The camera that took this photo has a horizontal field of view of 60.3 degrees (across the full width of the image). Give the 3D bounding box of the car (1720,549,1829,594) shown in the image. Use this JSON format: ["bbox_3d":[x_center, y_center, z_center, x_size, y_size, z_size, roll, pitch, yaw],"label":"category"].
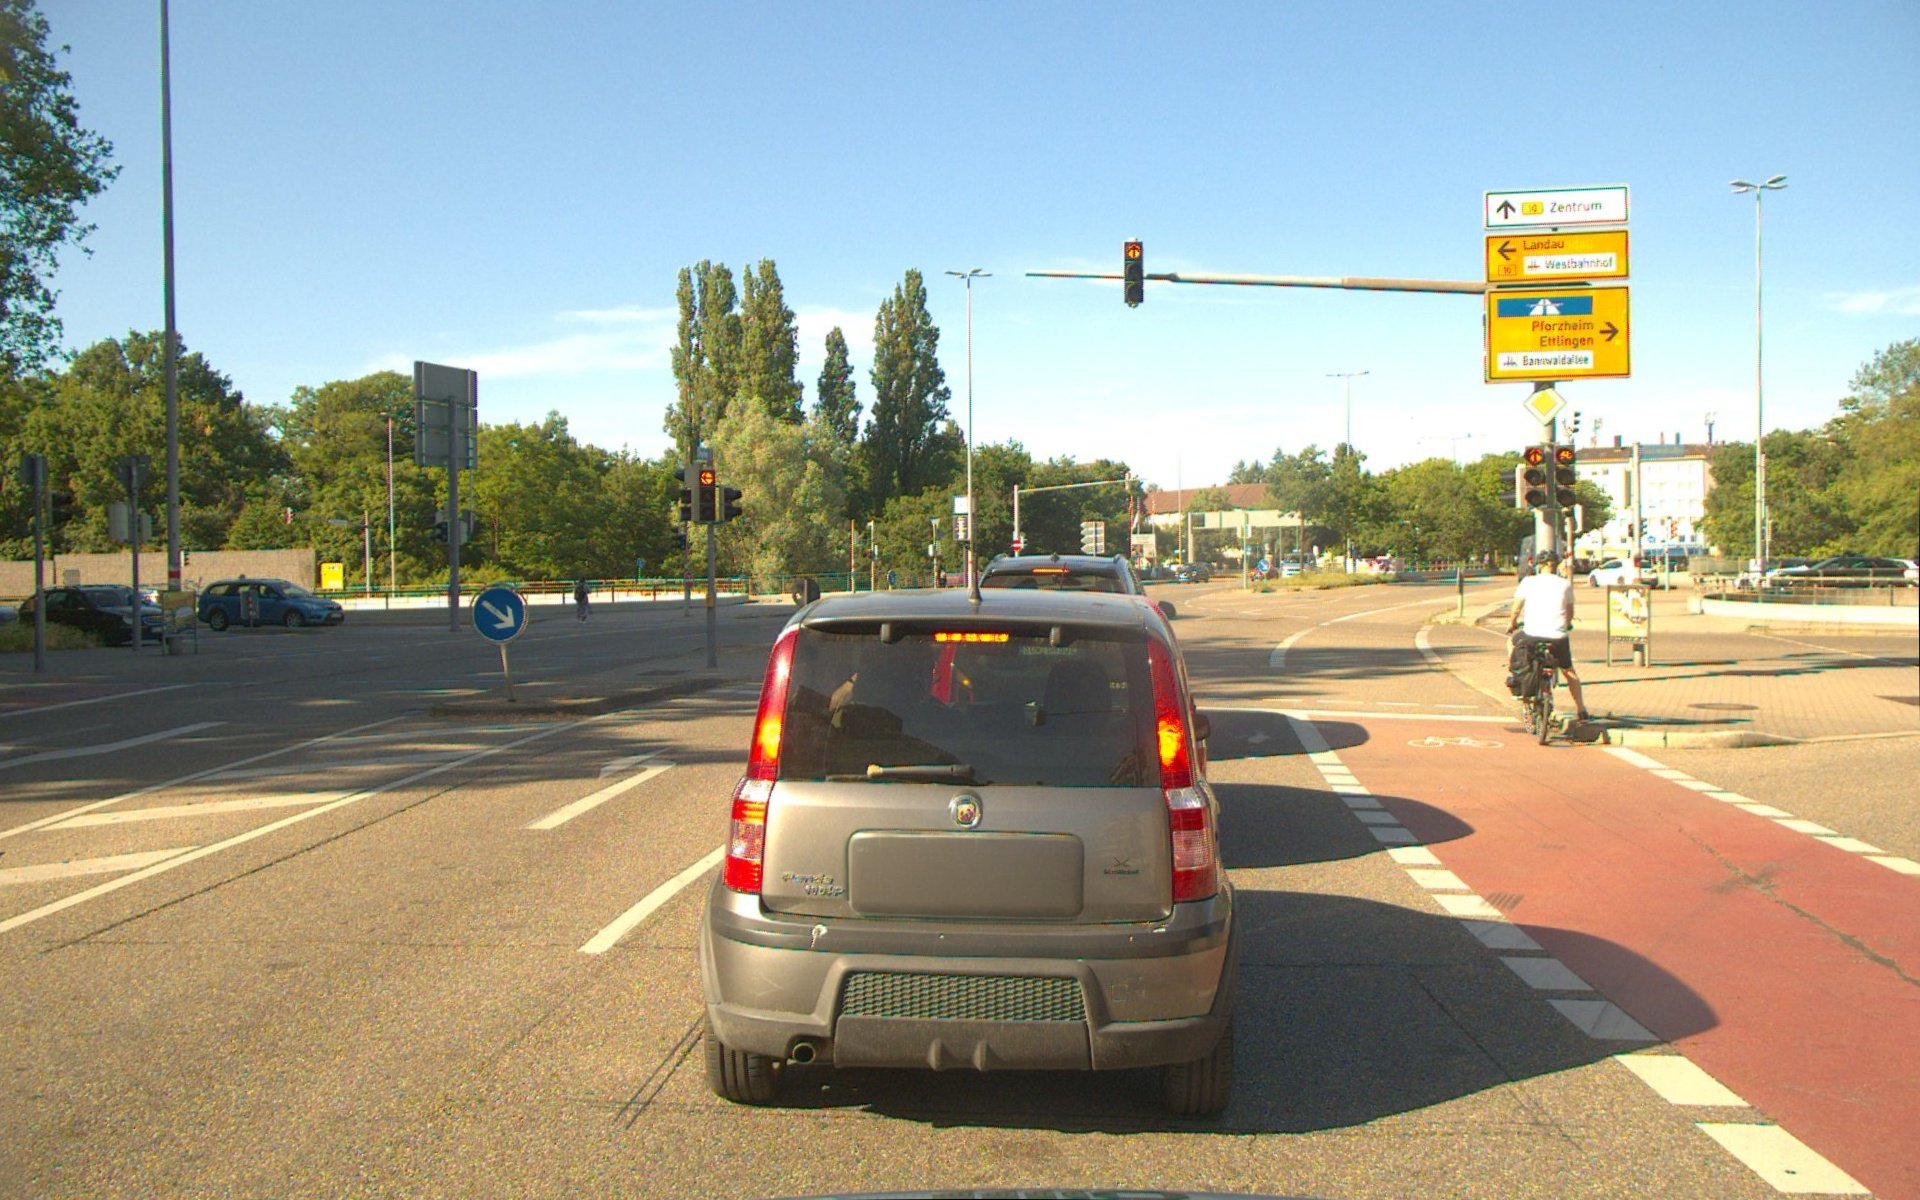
[{"bbox_3d":[35.724,-1.209,72.652,1.969,1.781,3.966,1,-2,-26],"label":"car"}]

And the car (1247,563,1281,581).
[{"bbox_3d":[28.217,-2.592,153.576,1.973,1.572,4.883,0,1,25],"label":"car"}]

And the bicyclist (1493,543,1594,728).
[{"bbox_3d":[5.709,0.320,16.159,0.784,1.734,1.084,0,1,28],"label":"bicyclist"}]

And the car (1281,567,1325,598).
[{"bbox_3d":[22.896,-1.141,110.285,1.972,1.887,4.884,0,-2,23],"label":"car"}]

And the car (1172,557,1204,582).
[{"bbox_3d":[18.985,-2.506,137.677,1.970,1.887,4.433,0,-2,16],"label":"car"}]

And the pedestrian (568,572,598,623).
[{"bbox_3d":[-12.310,-0.077,54.033,0.673,1.565,1.365,0,-4,-3],"label":"pedestrian"}]

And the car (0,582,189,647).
[{"bbox_3d":[-21.009,0.351,39.955,4.345,1.464,1.826,-1,1,22],"label":"car"}]

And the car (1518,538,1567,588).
[{"bbox_3d":[33.905,-2.123,96.359,2.206,2.653,4.889,0,-2,14],"label":"car"}]

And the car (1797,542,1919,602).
[{"bbox_3d":[33.209,-0.998,60.970,3.922,2.049,1.991,-1,-2,38],"label":"car"}]

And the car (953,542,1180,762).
[{"bbox_3d":[1.177,0.390,16.140,1.829,1.821,4.418,1,1,8],"label":"car"}]

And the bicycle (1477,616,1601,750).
[{"bbox_3d":[5.642,0.754,16.034,0.784,1.130,2.399,0,1,28],"label":"bicycle"}]

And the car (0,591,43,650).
[{"bbox_3d":[-26.404,0.560,43.302,4.345,1.464,1.826,-1,1,22],"label":"car"}]

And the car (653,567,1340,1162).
[{"bbox_3d":[0.187,0.668,6.389,1.782,1.515,4.002,2,1,3],"label":"car"}]

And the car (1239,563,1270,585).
[{"bbox_3d":[27.335,-2.380,153.454,1.971,1.887,4.886,0,-2,21],"label":"car"}]

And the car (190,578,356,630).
[{"bbox_3d":[-20.700,0.109,49.892,4.341,1.464,1.828,-1,1,13],"label":"car"}]

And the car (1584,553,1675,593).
[{"bbox_3d":[33.074,-1.324,81.832,1.966,1.781,3.972,1,-2,-23],"label":"car"}]

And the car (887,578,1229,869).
[{"bbox_3d":[0.589,0.638,10.752,1.782,1.505,4.001,1,0,2],"label":"car"}]
